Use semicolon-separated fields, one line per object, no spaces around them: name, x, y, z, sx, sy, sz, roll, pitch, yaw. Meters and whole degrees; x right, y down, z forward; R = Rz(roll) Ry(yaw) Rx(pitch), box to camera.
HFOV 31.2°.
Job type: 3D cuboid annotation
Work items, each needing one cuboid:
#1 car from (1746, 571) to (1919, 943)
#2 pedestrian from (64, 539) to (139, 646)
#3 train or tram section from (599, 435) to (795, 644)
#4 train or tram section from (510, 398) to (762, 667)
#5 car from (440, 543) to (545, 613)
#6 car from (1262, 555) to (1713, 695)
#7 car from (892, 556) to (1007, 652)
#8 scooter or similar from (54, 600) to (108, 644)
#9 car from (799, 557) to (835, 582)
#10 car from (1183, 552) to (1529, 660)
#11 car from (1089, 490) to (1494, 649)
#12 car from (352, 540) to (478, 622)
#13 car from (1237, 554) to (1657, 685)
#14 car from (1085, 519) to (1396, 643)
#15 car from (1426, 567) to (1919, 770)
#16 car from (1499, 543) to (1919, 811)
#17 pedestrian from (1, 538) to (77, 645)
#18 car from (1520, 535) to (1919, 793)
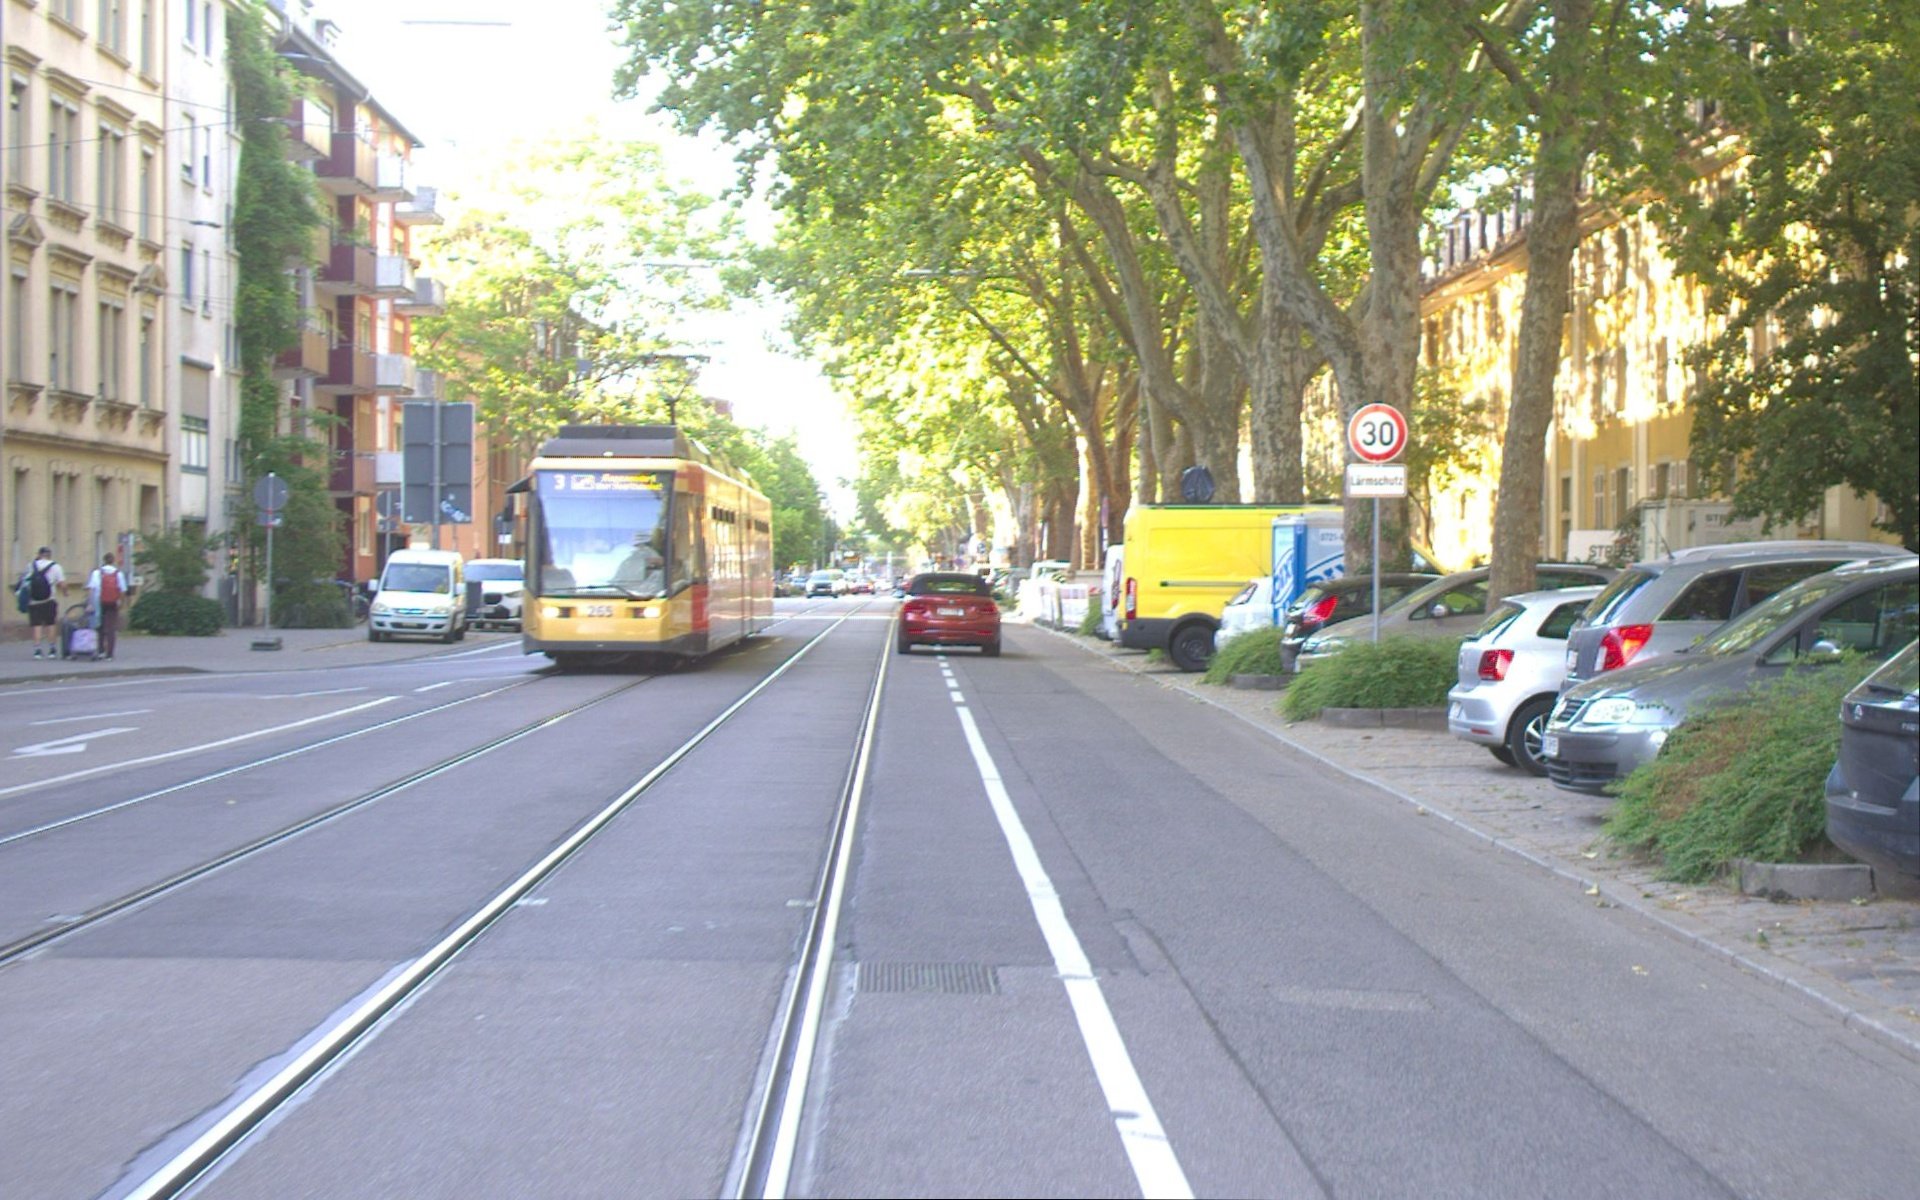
car;5.967;0.634;15.027;4.585;1.501;1.920;0;1;-3
pedestrian;-13.166;-0.120;52.730;0.892;1.619;1.034;0;1;0
train or tram section;-4.863;-1.133;66.003;2.832;3.626;12.817;0;1;0
train or tram section;-4.748;-0.995;53.011;2.861;3.626;13.199;0;1;-1
car;-10.624;-0.518;78.422;1.893;1.559;4.393;0;1;-1
car;5.870;0.258;38.630;4.711;1.528;1.920;0;1;-3
car;-0.185;0.080;60.141;1.893;1.559;4.392;-1;0;0
scooter or similar;-13.296;0.333;51.995;0.624;0.646;0.766;0;1;0
car;-8.562;-1.837;205.629;1.993;1.504;4.001;0;1;-5
car;5.667;0.073;49.559;4.711;1.528;1.920;0;1;-2
car;4.965;-0.468;52.110;5.945;2.358;2.061;0;1;1
car;-10.711;-0.390;67.837;1.893;1.559;4.393;0;1;-1
car;5.800;0.215;41.289;4.711;1.528;1.920;0;1;-3
car;4.991;-0.355;61.772;5.442;2.184;2.061;0;1;1
car;6.179;0.513;27.158;4.712;1.528;1.920;0;1;0
car;5.875;0.446;21.474;4.712;1.596;1.920;0;1;0
pedestrian;-14.007;-0.136;52.309;0.892;1.619;1.034;0;1;0
car;6.417;0.409;23.918;4.712;1.716;1.920;0;1;0
